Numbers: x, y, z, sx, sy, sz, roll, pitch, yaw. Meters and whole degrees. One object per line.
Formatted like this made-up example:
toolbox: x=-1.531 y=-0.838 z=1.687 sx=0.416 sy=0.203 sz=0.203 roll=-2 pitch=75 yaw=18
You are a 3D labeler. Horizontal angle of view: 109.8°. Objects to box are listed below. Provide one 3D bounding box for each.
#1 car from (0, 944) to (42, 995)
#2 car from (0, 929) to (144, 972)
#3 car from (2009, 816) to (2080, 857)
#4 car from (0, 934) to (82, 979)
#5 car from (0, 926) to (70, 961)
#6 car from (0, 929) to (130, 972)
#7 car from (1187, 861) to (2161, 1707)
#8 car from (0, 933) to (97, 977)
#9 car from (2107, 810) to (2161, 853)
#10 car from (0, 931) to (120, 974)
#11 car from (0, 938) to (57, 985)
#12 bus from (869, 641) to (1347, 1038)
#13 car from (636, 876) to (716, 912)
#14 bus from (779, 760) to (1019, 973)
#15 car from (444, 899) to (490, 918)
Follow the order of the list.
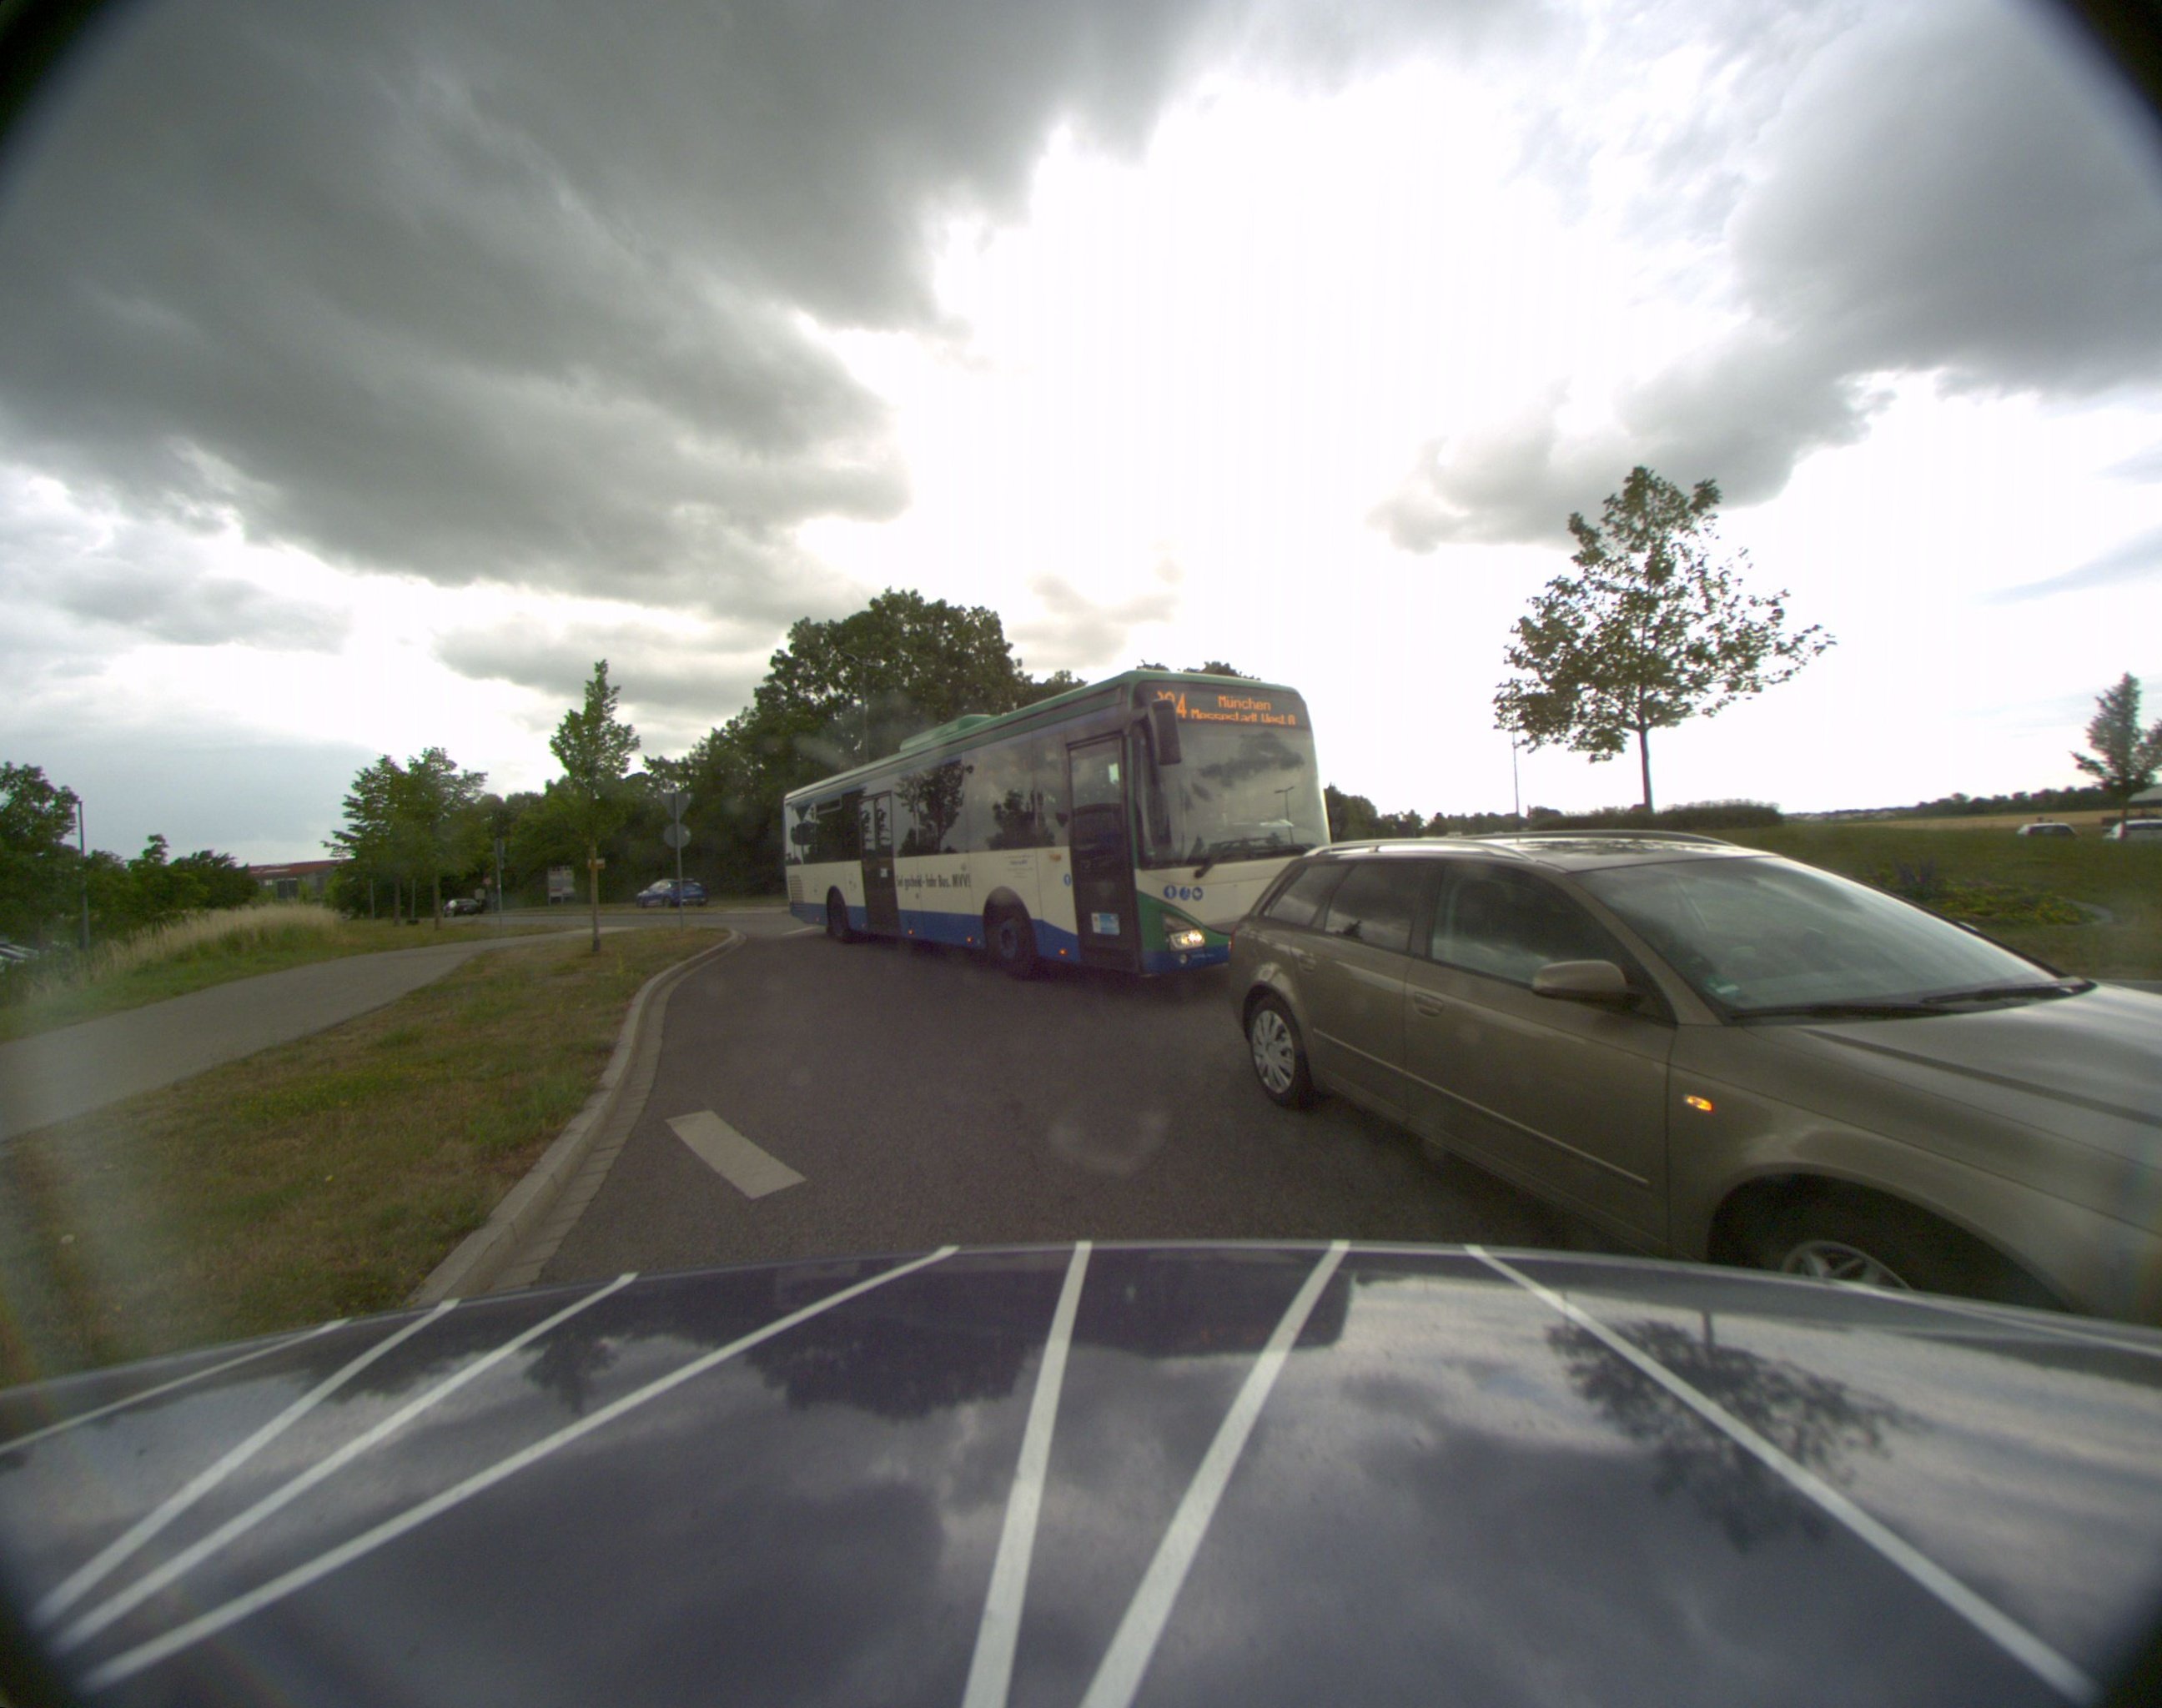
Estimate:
car: x=-35.995 y=3.825 z=23.683 sx=3.896 sy=1.455 sz=1.693 roll=-3 pitch=0 yaw=-40
car: x=-48.404 y=4.591 z=36.536 sx=3.896 sy=1.455 sz=1.693 roll=-3 pitch=0 yaw=-40
car: x=44.265 y=-0.812 z=34.886 sx=4.006 sy=1.544 sz=1.712 roll=-5 pitch=0 yaw=-35
car: x=-41.020 y=3.971 z=28.550 sx=3.896 sy=1.455 sz=1.693 roll=-3 pitch=0 yaw=-40
car: x=-52.292 y=4.420 z=36.720 sx=1.879 sy=1.435 sz=4.007 roll=-3 pitch=1 yaw=35
car: x=-47.404 y=4.458 z=35.170 sx=3.896 sy=1.455 sz=1.693 roll=-3 pitch=0 yaw=-40
car: x=2.146 y=0.789 z=2.926 sx=1.784 sy=1.456 sz=4.535 roll=-2 pitch=0 yaw=-15
car: x=-43.273 y=4.165 z=30.734 sx=3.896 sy=1.455 sz=1.693 roll=-3 pitch=0 yaw=-40
car: x=46.125 y=-1.001 z=32.973 sx=4.006 sy=1.544 sz=1.712 roll=-5 pitch=0 yaw=-35
car: x=-45.823 y=4.383 z=33.556 sx=3.896 sy=1.455 sz=1.693 roll=-3 pitch=0 yaw=-40
car: x=-38.933 y=3.878 z=26.243 sx=3.896 sy=1.455 sz=1.693 roll=-3 pitch=0 yaw=-40
bus: x=-0.260 y=-0.142 z=9.589 sx=2.529 sy=3.240 sz=6.531 roll=-3 pitch=1 yaw=-35
car: x=-19.735 y=1.966 z=36.956 sx=4.072 sy=1.422 sz=1.766 roll=-6 pitch=0 yaw=37
bus: x=-3.703 y=0.153 z=14.504 sx=2.529 sy=3.240 sz=5.446 roll=-3 pitch=2 yaw=-35
car: x=-47.824 y=4.254 z=59.132 sx=4.103 sy=1.299 sz=1.834 roll=-3 pitch=-1 yaw=38
